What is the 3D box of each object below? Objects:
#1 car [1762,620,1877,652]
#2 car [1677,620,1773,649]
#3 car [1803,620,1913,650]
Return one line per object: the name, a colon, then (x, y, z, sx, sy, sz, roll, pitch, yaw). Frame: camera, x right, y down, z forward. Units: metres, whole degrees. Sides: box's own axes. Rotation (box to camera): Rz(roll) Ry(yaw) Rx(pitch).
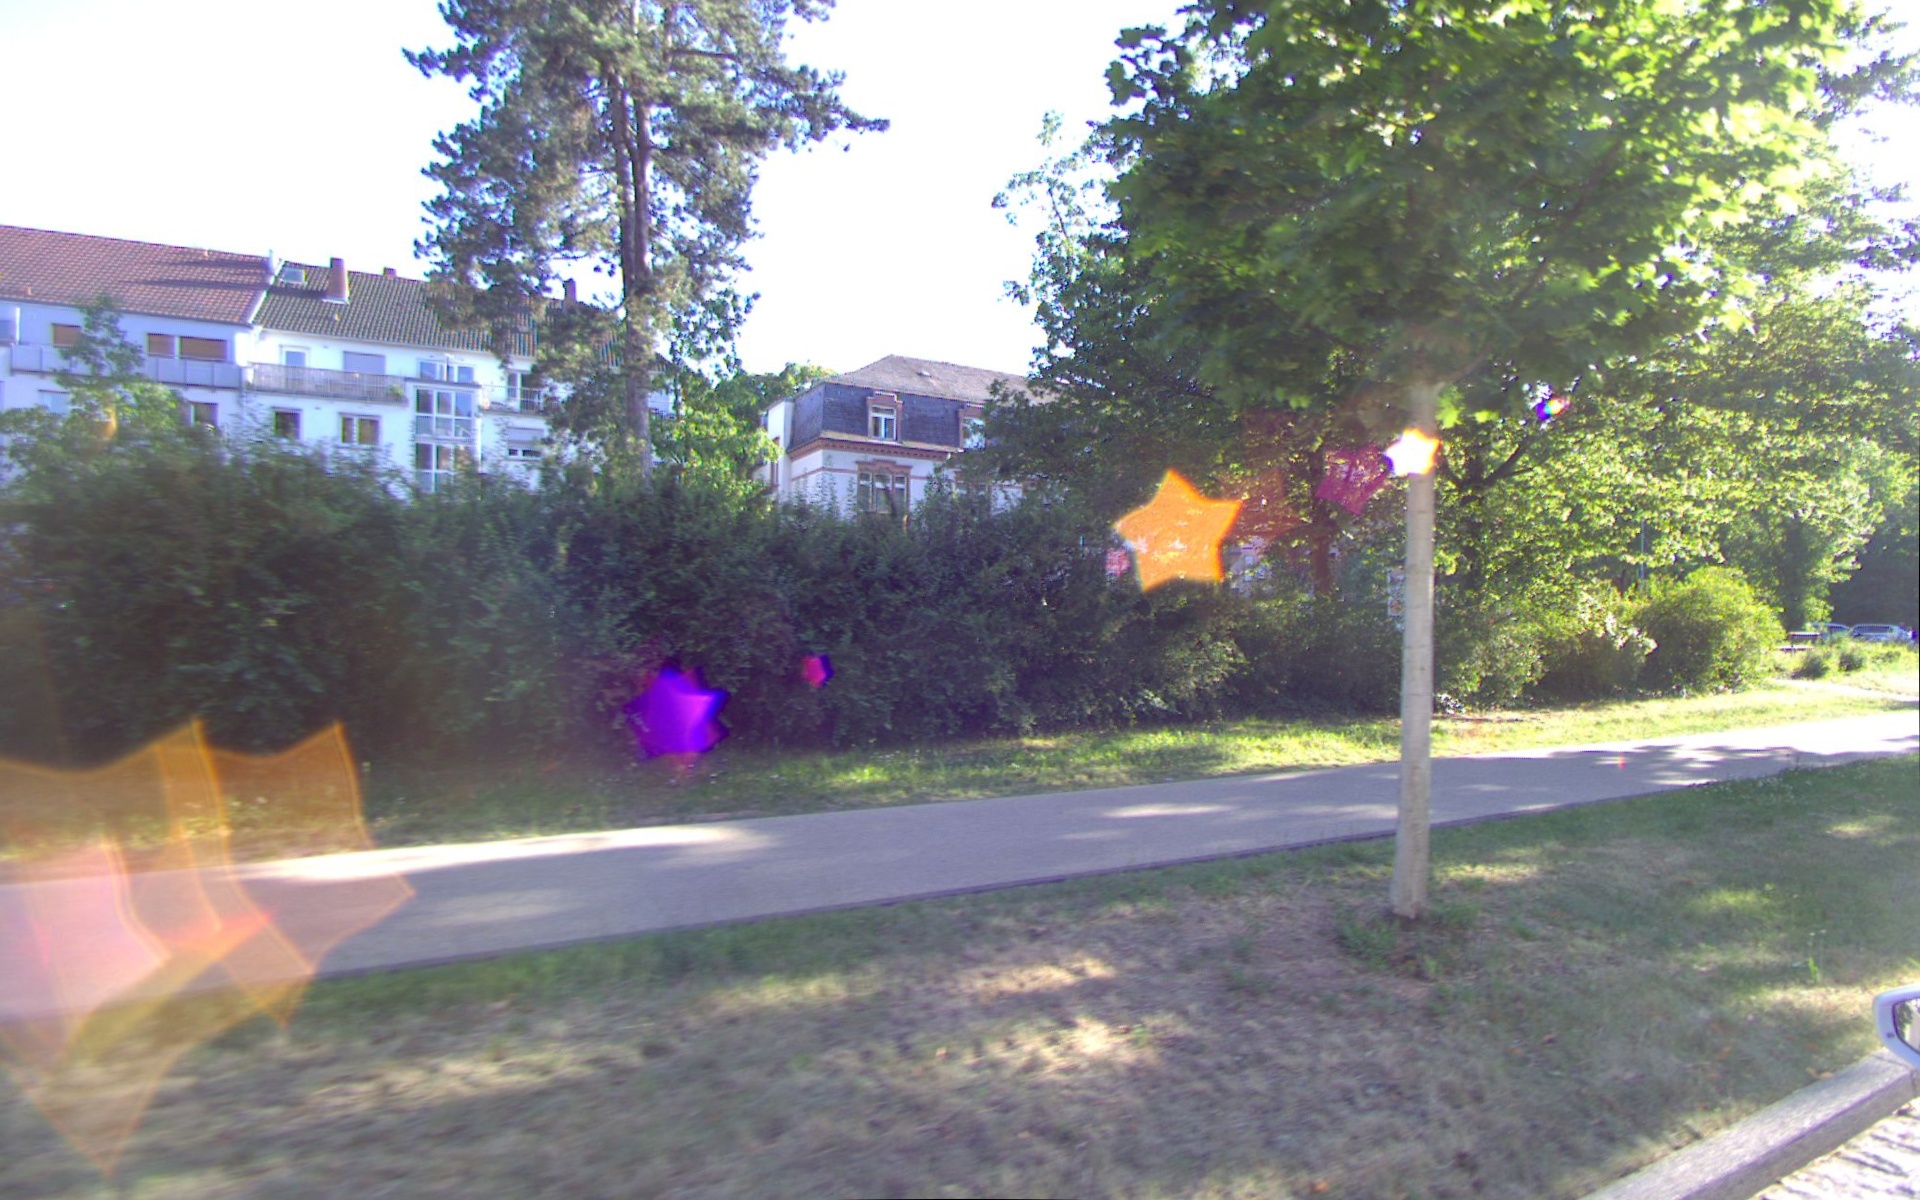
car: (41.302, 1.702, 48.385, 3.930, 1.439, 1.767, 0, 0, 32)
car: (41.687, 1.850, 54.869, 3.927, 1.439, 1.769, 1, 0, 29)
car: (46.485, 1.810, 52.093, 3.927, 1.439, 1.769, 0, 0, 28)
